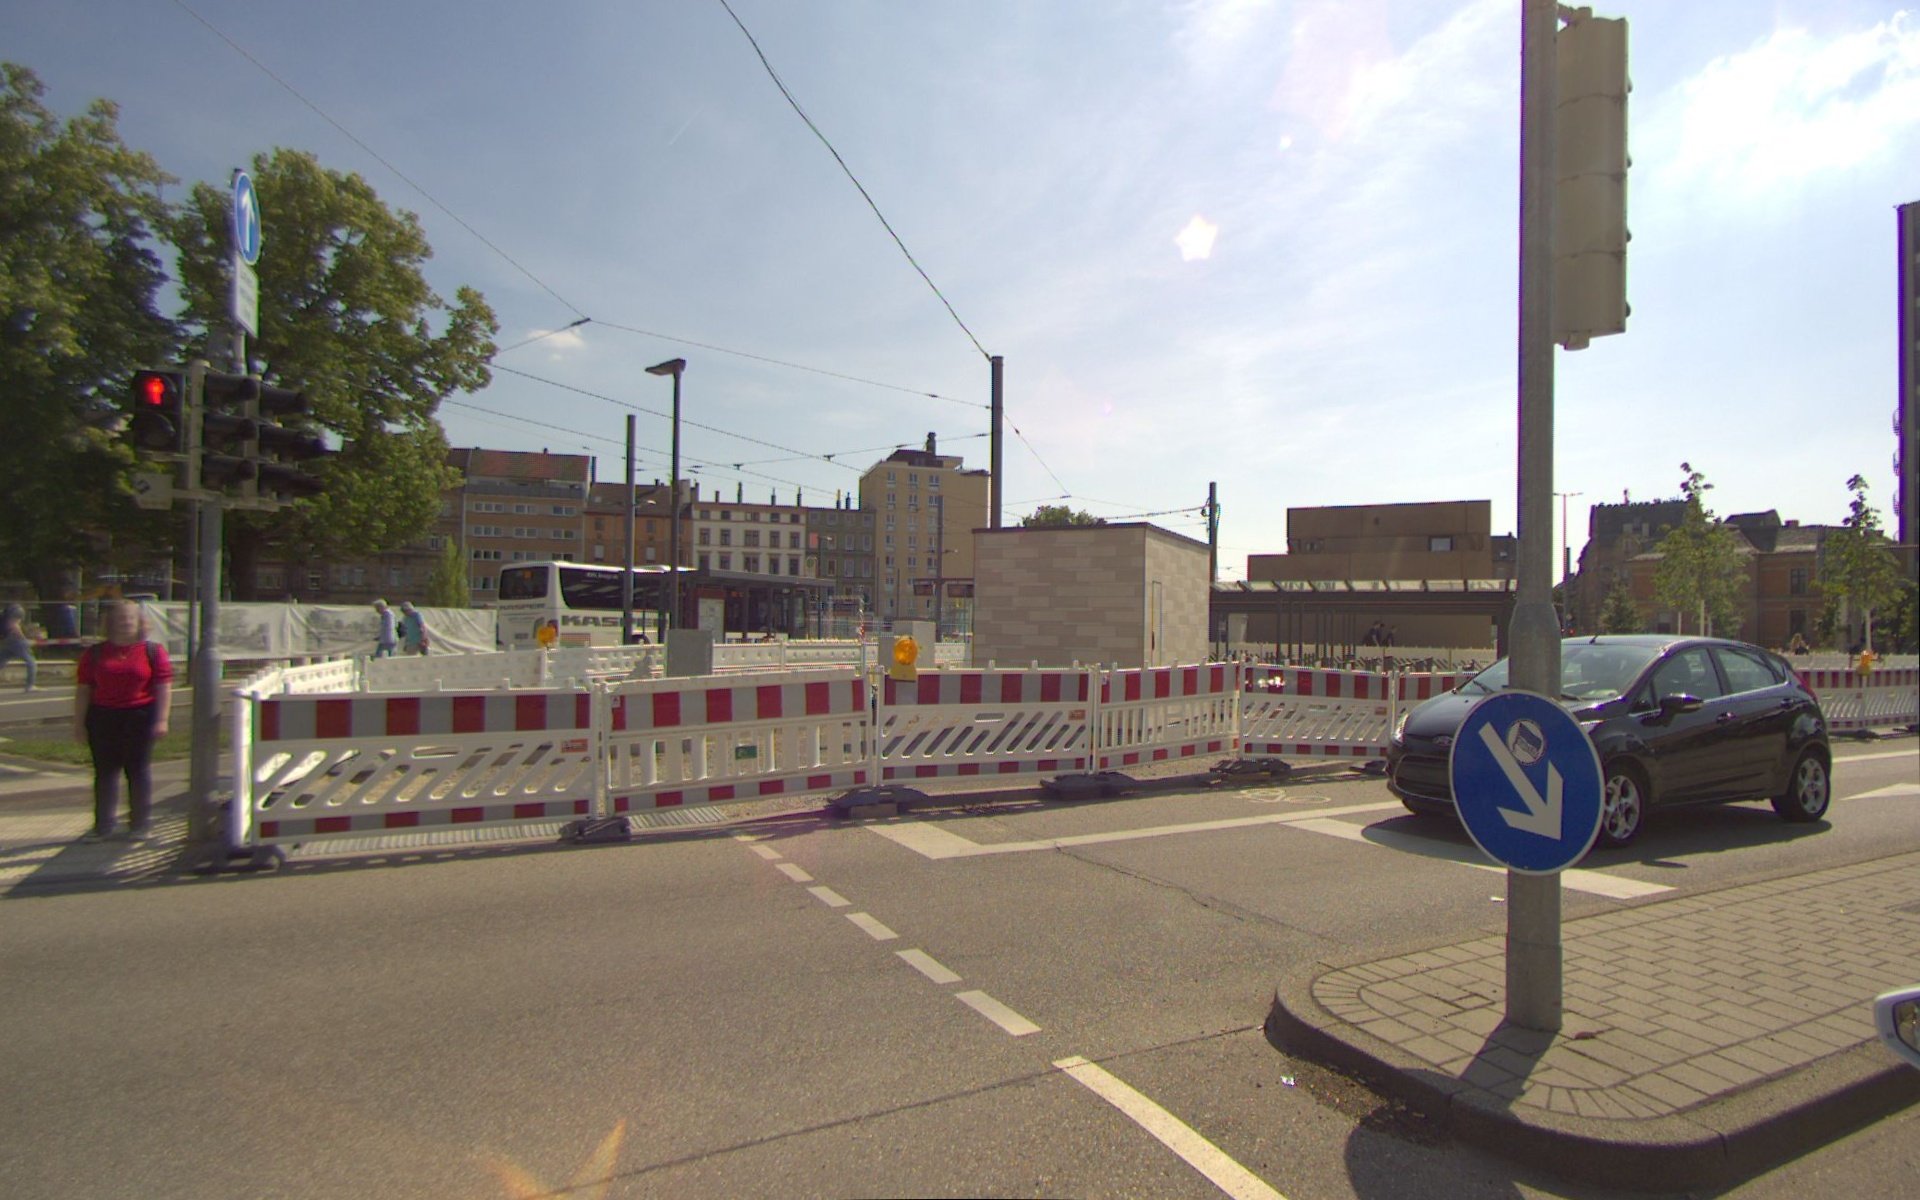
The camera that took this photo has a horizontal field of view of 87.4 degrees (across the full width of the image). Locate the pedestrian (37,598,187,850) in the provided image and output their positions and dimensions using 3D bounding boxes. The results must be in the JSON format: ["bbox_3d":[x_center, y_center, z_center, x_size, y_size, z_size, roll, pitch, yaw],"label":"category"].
[{"bbox_3d":[-5.763,0.819,6.855,0.677,1.637,0.348,1,-2,-26],"label":"pedestrian"}]

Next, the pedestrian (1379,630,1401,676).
[{"bbox_3d":[16.088,1.979,37.608,0.558,1.731,0.540,1,-2,-6],"label":"pedestrian"}]

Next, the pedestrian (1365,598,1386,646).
[{"bbox_3d":[15.849,0.842,38.322,0.558,1.801,0.544,1,-2,-6],"label":"pedestrian"}]

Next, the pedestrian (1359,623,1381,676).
[{"bbox_3d":[15.161,1.815,37.149,0.594,1.940,0.441,1,-2,-6],"label":"pedestrian"}]

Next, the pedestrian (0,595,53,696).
[{"bbox_3d":[-16.596,0.783,17.559,0.547,1.735,0.937,0,-1,17],"label":"pedestrian"}]

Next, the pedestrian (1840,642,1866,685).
[{"bbox_3d":[32.114,2.268,36.109,0.612,1.511,0.625,2,-3,-43],"label":"pedestrian"}]

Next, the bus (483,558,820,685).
[{"bbox_3d":[-9.672,0.836,34.184,2.810,3.535,12.642,0,-2,28],"label":"bus"}]

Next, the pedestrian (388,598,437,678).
[{"bbox_3d":[-11.529,0.794,21.170,0.675,1.637,0.586,0,-1,16],"label":"pedestrian"}]

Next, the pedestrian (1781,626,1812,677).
[{"bbox_3d":[30.320,1.866,36.405,1.103,1.775,0.729,5,-5,-43],"label":"pedestrian"}]

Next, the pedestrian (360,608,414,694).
[{"bbox_3d":[-11.146,0.985,19.555,0.782,1.637,0.659,1,-1,-21],"label":"pedestrian"}]

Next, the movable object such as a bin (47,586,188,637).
[{"bbox_3d":[-53.589,0.779,64.111,6.481,3.049,2.561,2,-2,-32],"label":"movable object such as a bin"}]

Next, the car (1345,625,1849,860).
[{"bbox_3d":[5.050,0.982,7.930,3.768,1.469,1.661,2,-3,-27],"label":"car"}]
